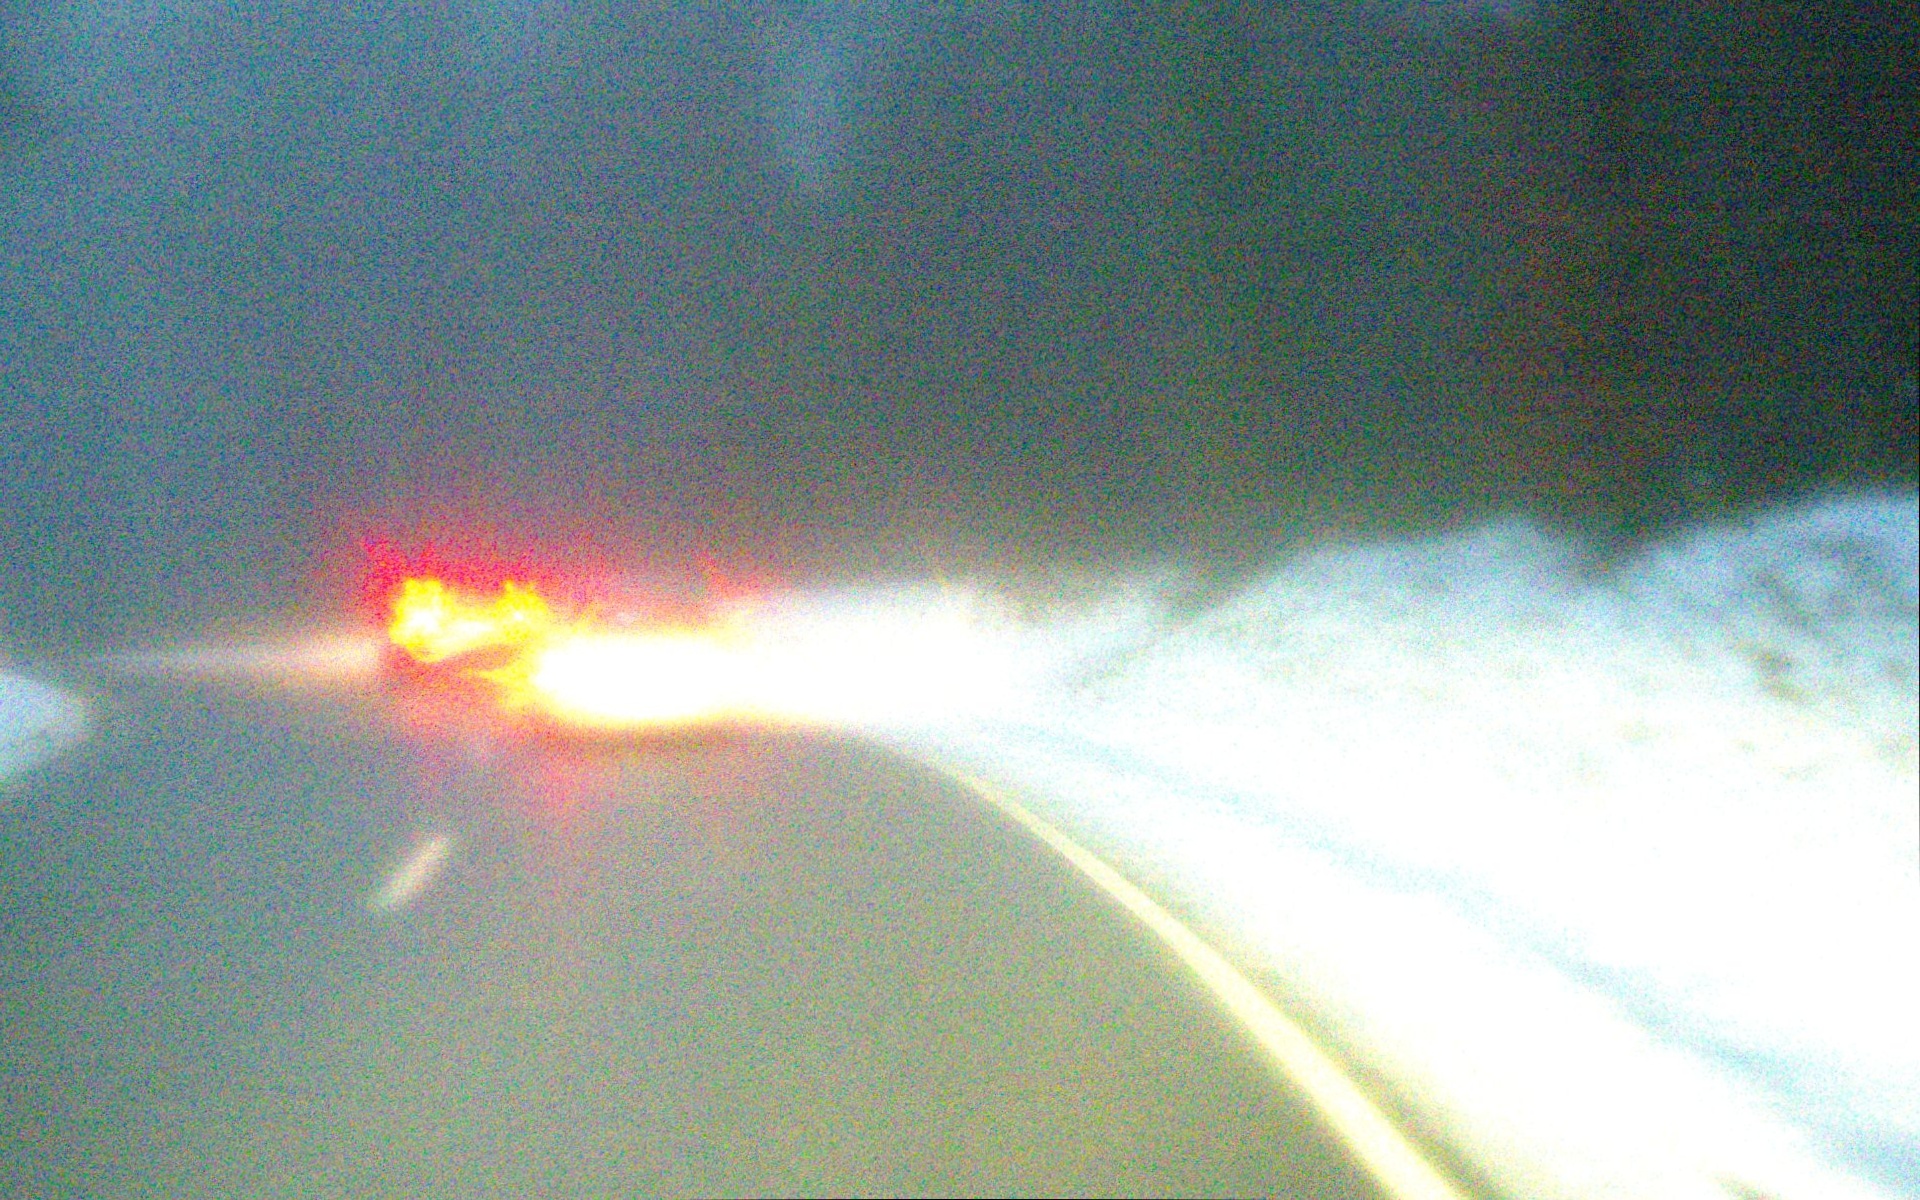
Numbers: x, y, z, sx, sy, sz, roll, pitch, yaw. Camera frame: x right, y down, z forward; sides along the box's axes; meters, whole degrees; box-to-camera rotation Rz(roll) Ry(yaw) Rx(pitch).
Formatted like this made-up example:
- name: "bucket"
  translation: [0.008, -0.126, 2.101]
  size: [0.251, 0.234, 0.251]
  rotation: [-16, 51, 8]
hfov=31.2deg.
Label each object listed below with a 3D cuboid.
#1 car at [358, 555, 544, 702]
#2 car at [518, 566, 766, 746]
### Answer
- name: "car"
  translation: [-7.074, 0.435, 47.459]
  size: [1.993, 1.777, 4.001]
  rotation: [5, -3, -15]
- name: "car"
  translation: [-2.811, 0.514, 29.901]
  size: [1.945, 1.377, 4.000]
  rotation: [3, -2, -7]
